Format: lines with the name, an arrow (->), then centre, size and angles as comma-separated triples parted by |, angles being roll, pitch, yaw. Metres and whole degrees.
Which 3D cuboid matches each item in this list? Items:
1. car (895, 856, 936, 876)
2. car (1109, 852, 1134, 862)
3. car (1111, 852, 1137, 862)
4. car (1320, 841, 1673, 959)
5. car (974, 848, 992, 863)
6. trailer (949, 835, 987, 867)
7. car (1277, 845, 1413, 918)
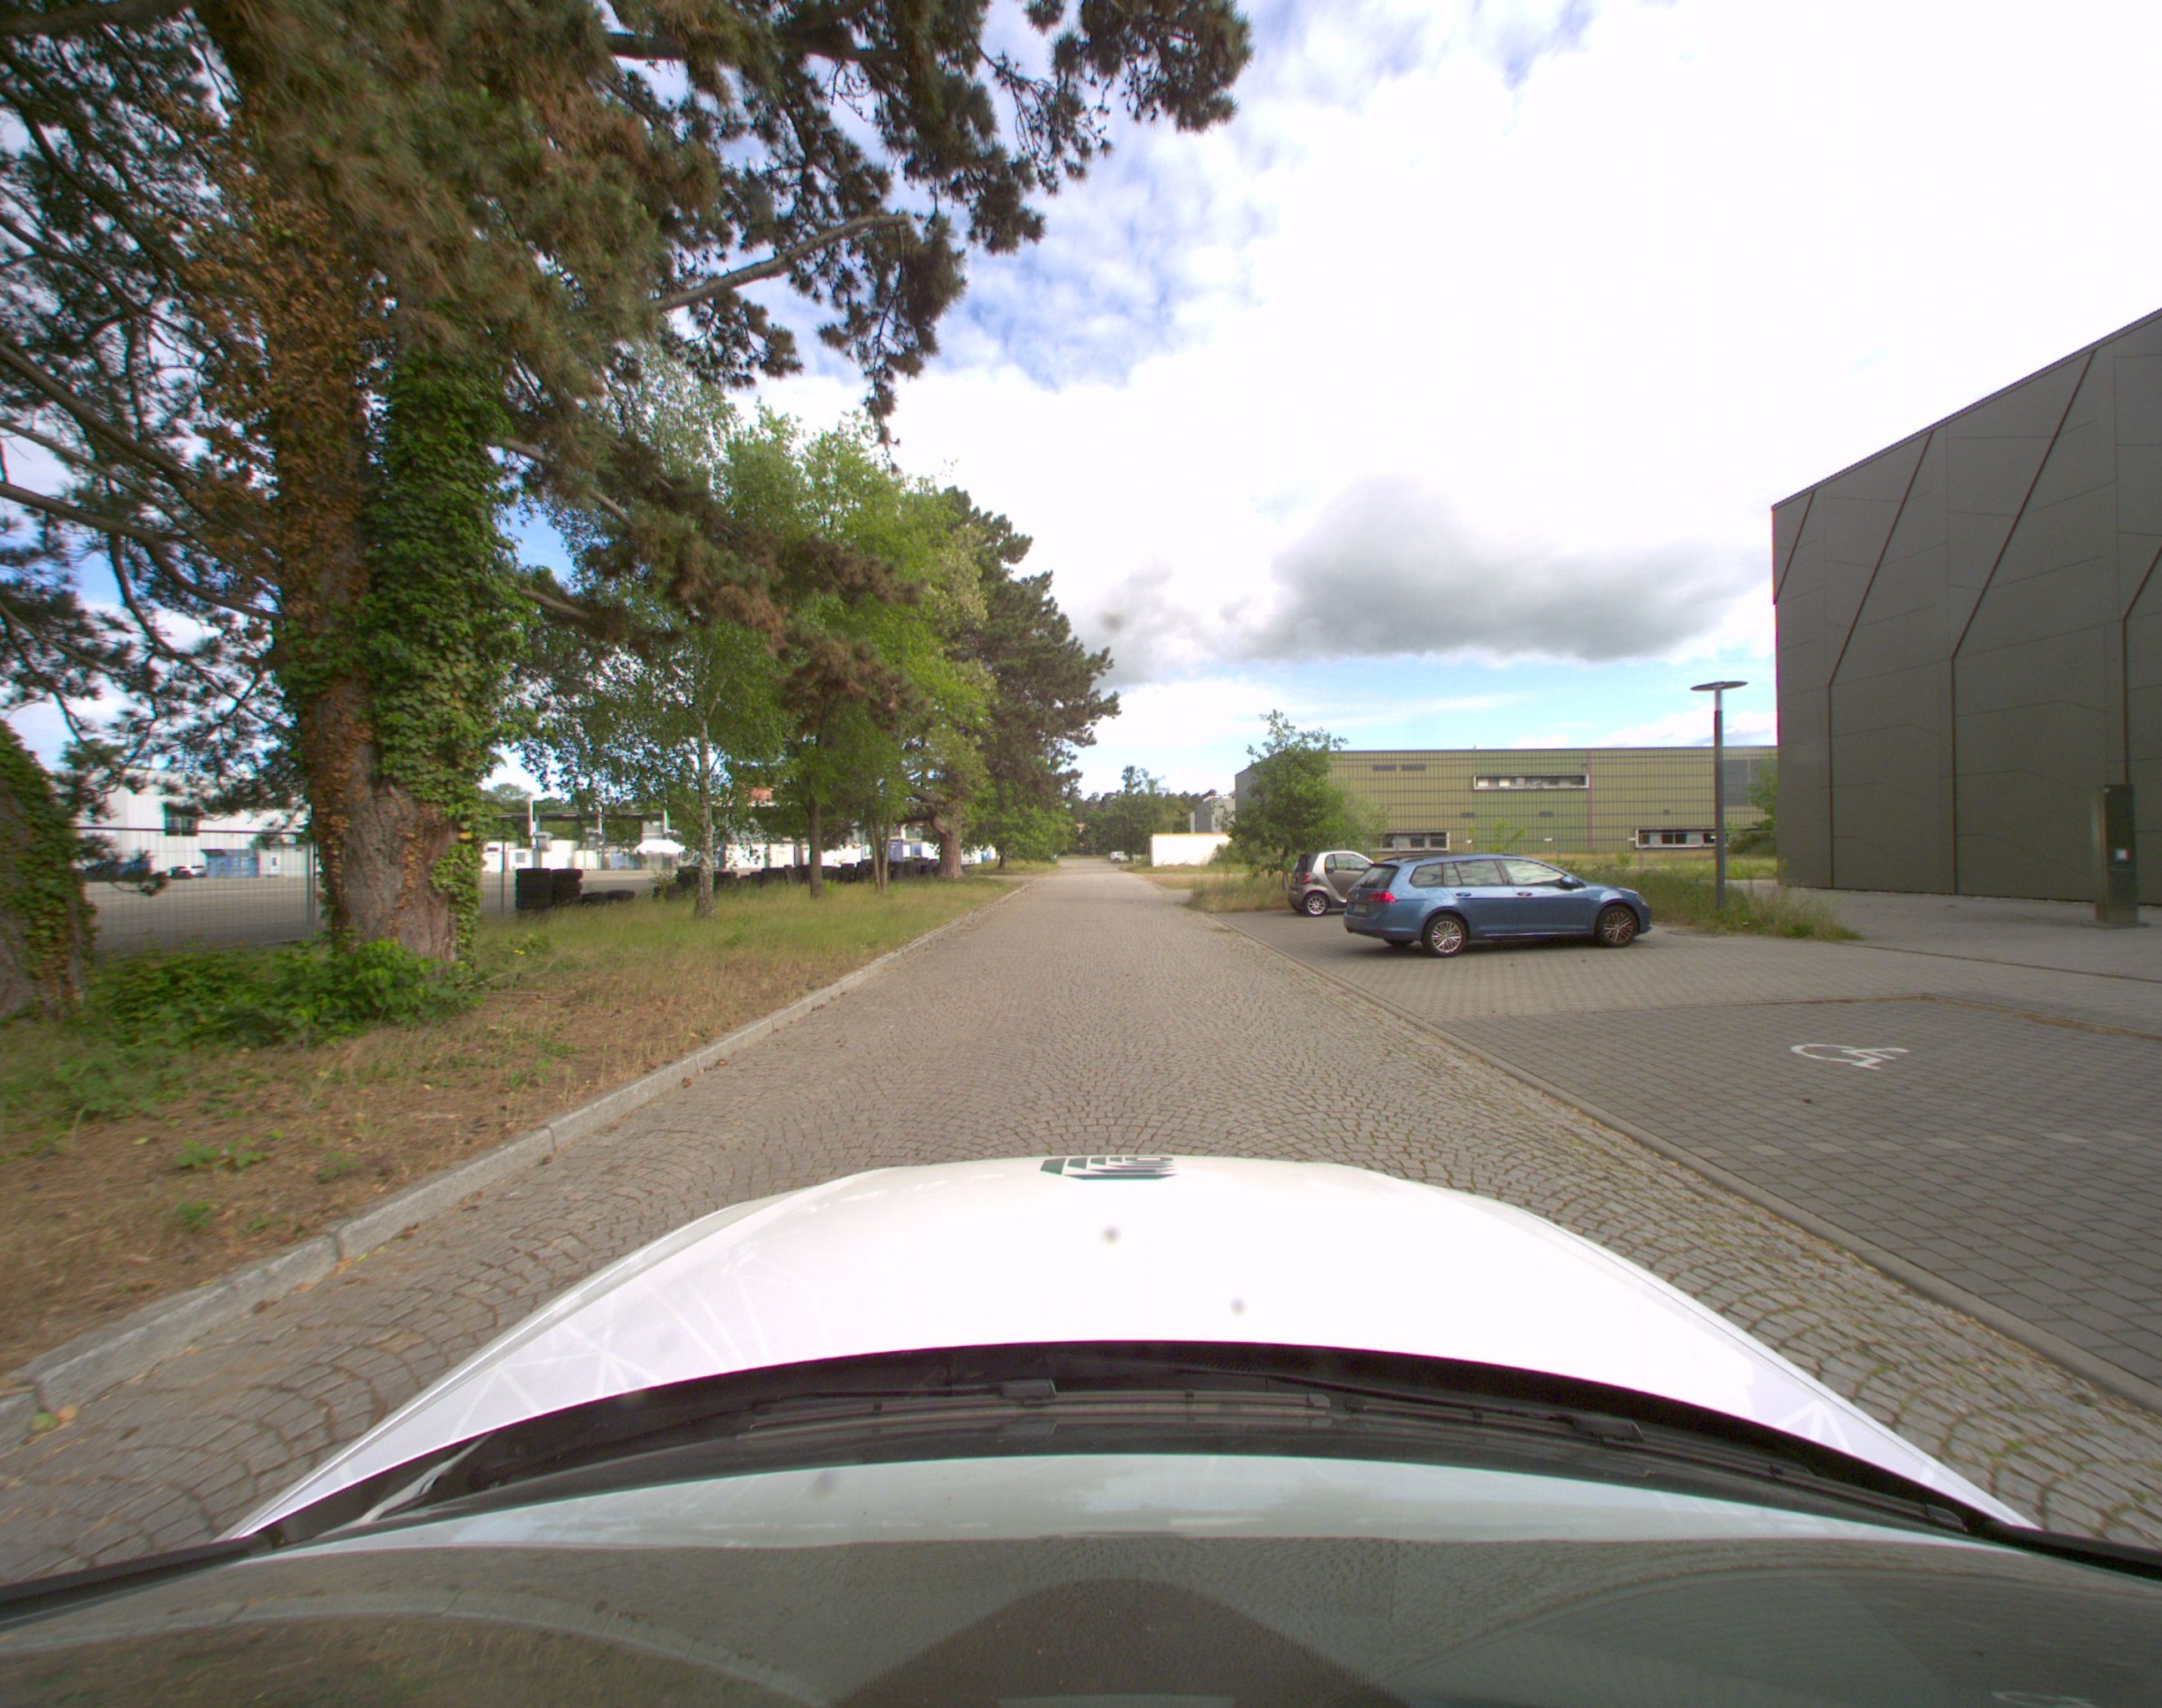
car -> -12.474, 0.903, 61.695 | 1.814, 1.431, 4.226 | -1, 0, 6
car -> 6.400, 0.495, 129.544 | 3.974, 1.455, 1.697 | -1, 0, 0
car -> 6.683, 0.514, 127.378 | 3.974, 1.455, 2.000 | 0, -1, 0
car -> 6.318, 0.659, 12.754 | 4.513, 1.450, 1.930 | -3, 0, -2
car -> -16.824, 0.307, 139.625 | 1.985, 2.523, 5.623 | -1, 0, 4
trailer -> -13.705, -0.329, 99.893 | 2.646, 3.705, 10.728 | -1, 0, 3
car -> 6.427, 0.640, 20.043 | 2.732, 1.582, 1.683 | -3, 0, 0
